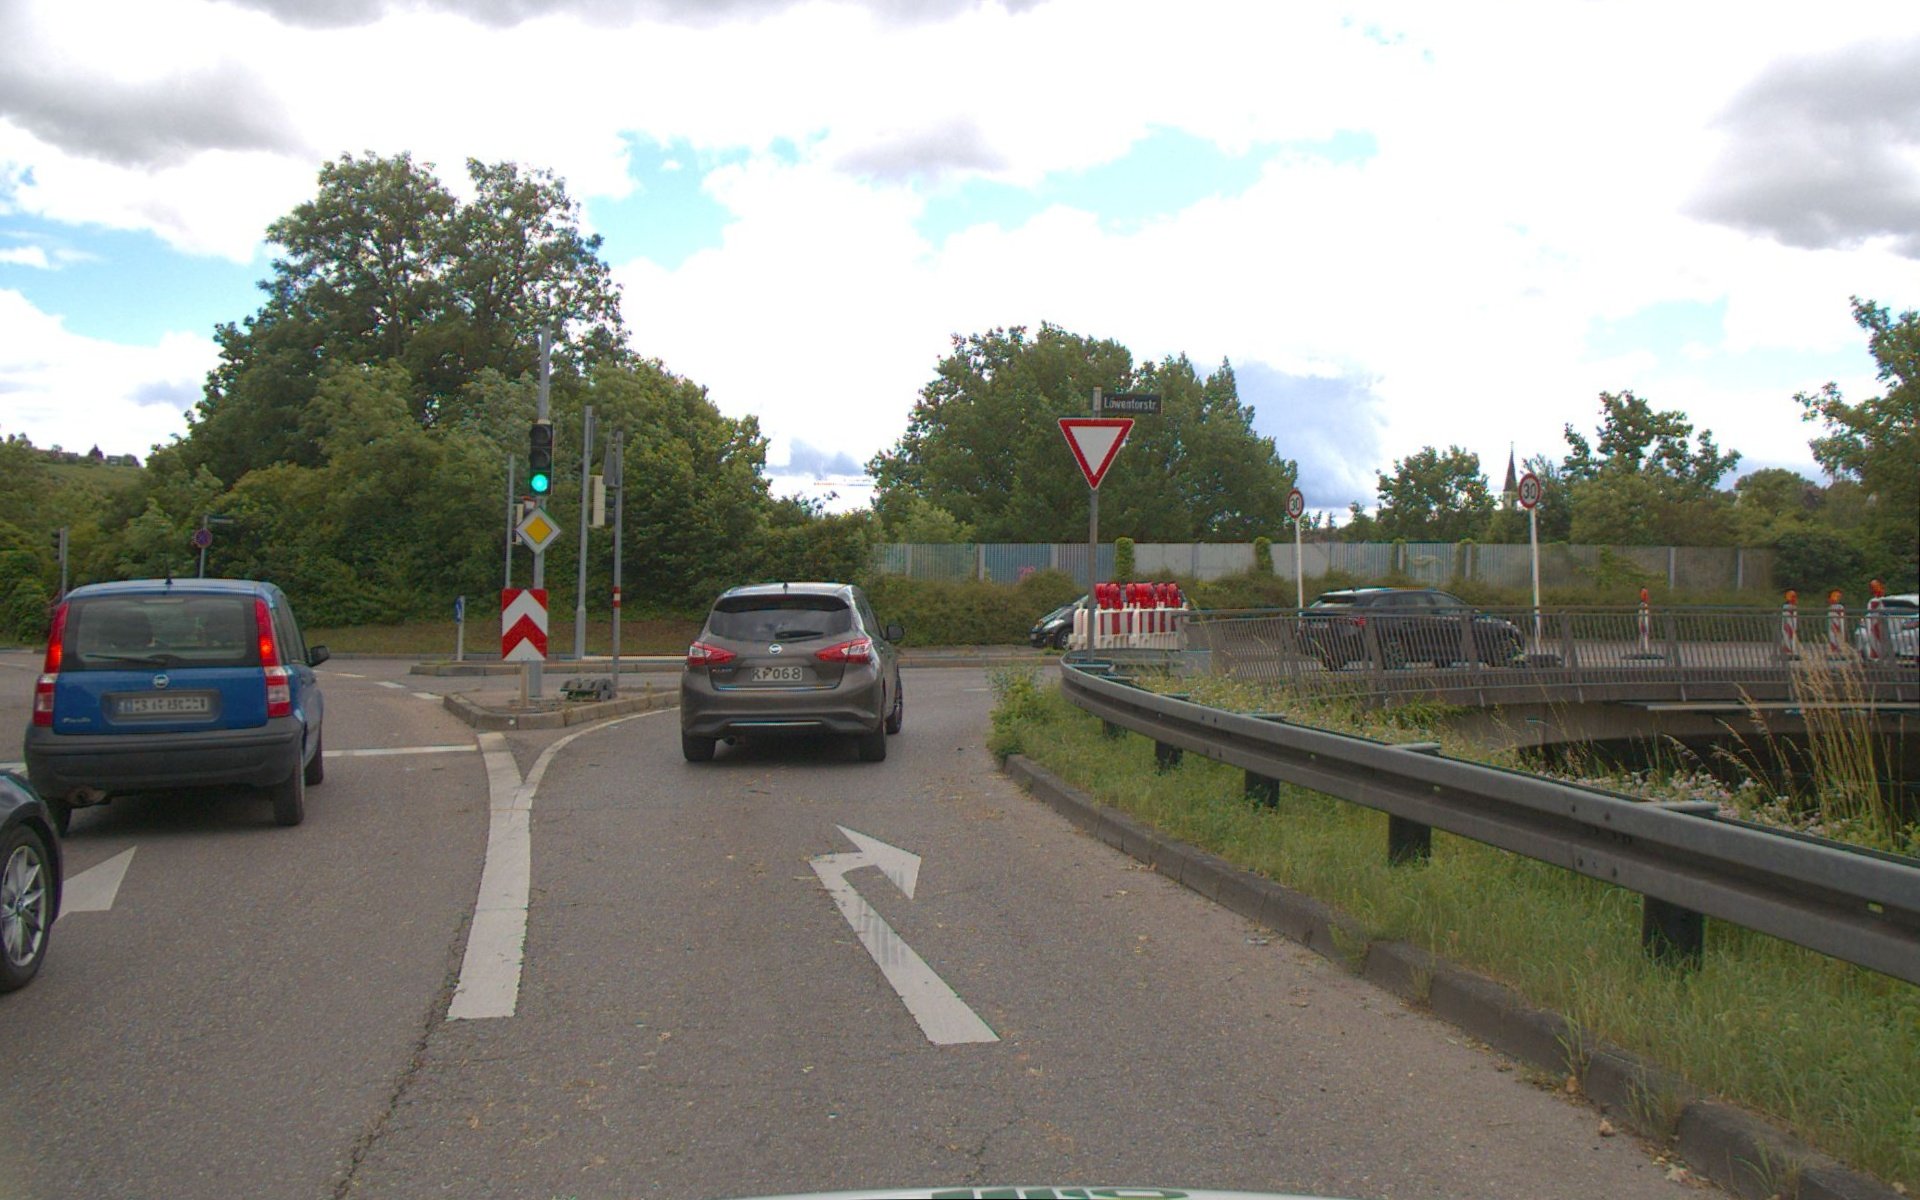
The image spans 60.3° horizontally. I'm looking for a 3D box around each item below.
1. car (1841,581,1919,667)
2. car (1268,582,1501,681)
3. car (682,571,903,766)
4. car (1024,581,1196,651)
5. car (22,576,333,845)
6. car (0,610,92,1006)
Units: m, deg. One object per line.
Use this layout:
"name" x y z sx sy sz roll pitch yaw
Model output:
"car" 20.606 0.543 34.438 3.922 1.704 1.710 2 -1 -16
"car" 7.680 0.559 29.956 3.724 1.579 1.813 3 0 -23
"car" -1.434 0.553 15.511 1.761 1.579 3.999 0 0 -1
"car" 3.517 0.409 38.850 3.713 1.579 1.636 1 -2 -15
"car" -5.182 0.617 11.326 1.519 1.534 3.362 0 0 -19
"car" -4.012 0.779 4.590 1.534 1.392 4.076 -1 1 -8
